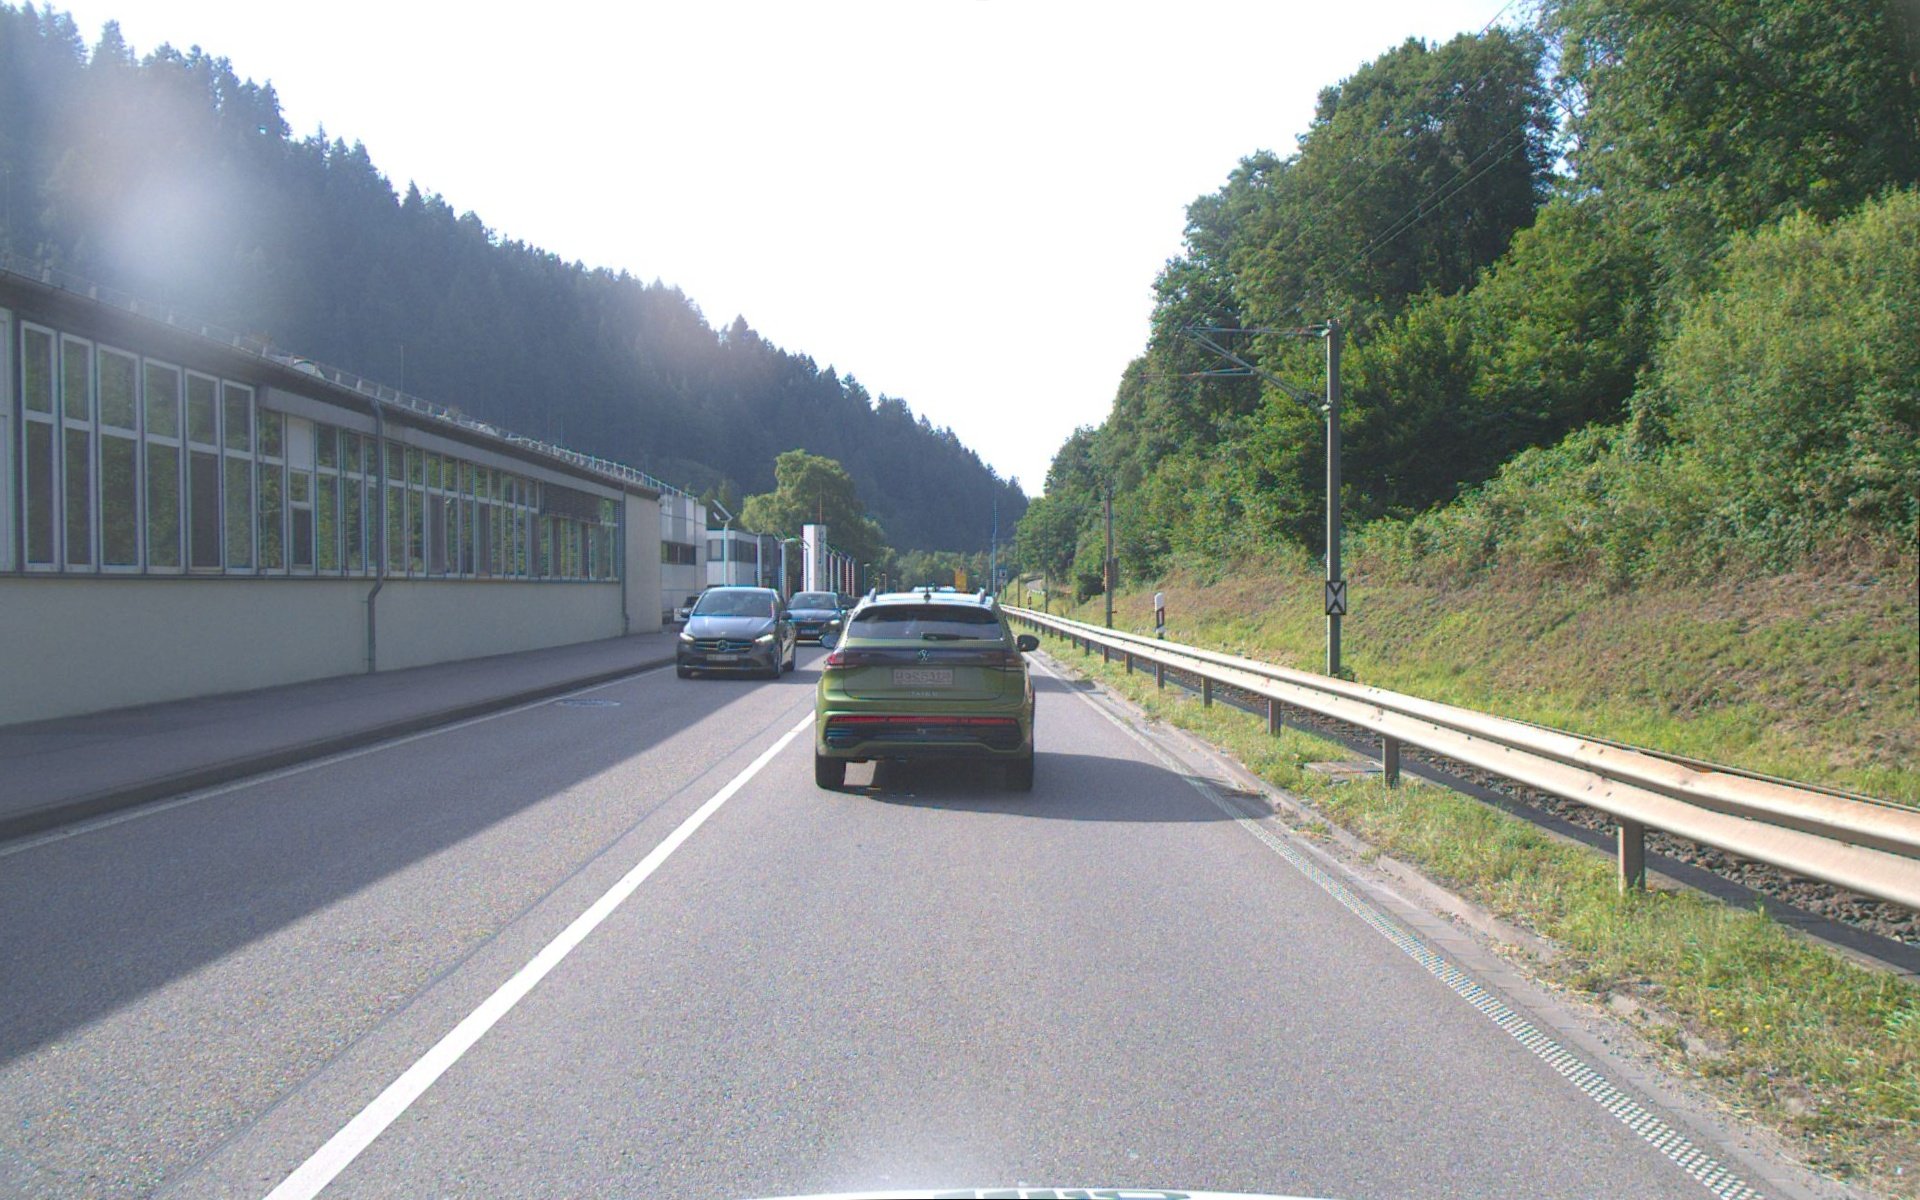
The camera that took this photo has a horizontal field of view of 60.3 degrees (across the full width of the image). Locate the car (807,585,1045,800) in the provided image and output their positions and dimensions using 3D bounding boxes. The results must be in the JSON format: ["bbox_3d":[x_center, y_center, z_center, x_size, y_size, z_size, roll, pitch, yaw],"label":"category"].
[{"bbox_3d":[-0.293,0.653,13.854,1.704,1.534,3.999,0,0,-2],"label":"car"}]

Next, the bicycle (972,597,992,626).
[{"bbox_3d":[0.986,0.523,74.631,0.795,1.272,2.121,0,0,-3],"label":"bicycle"}]

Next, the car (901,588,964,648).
[{"bbox_3d":[-0.812,0.472,47.079,1.704,1.630,3.999,0,0,-2],"label":"car"}]

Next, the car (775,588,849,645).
[{"bbox_3d":[-4.118,0.430,46.485,1.737,1.516,4.051,1,0,-1],"label":"car"}]

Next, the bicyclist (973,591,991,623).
[{"bbox_3d":[0.977,0.325,74.735,0.766,1.436,0.675,0,0,-3],"label":"bicyclist"}]

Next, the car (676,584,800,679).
[{"bbox_3d":[-3.879,0.509,29.484,1.684,1.540,4.198,1,0,-1],"label":"car"}]

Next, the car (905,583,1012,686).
[{"bbox_3d":[-0.080,0.542,28.358,1.704,1.630,3.999,0,0,-2],"label":"car"}]
